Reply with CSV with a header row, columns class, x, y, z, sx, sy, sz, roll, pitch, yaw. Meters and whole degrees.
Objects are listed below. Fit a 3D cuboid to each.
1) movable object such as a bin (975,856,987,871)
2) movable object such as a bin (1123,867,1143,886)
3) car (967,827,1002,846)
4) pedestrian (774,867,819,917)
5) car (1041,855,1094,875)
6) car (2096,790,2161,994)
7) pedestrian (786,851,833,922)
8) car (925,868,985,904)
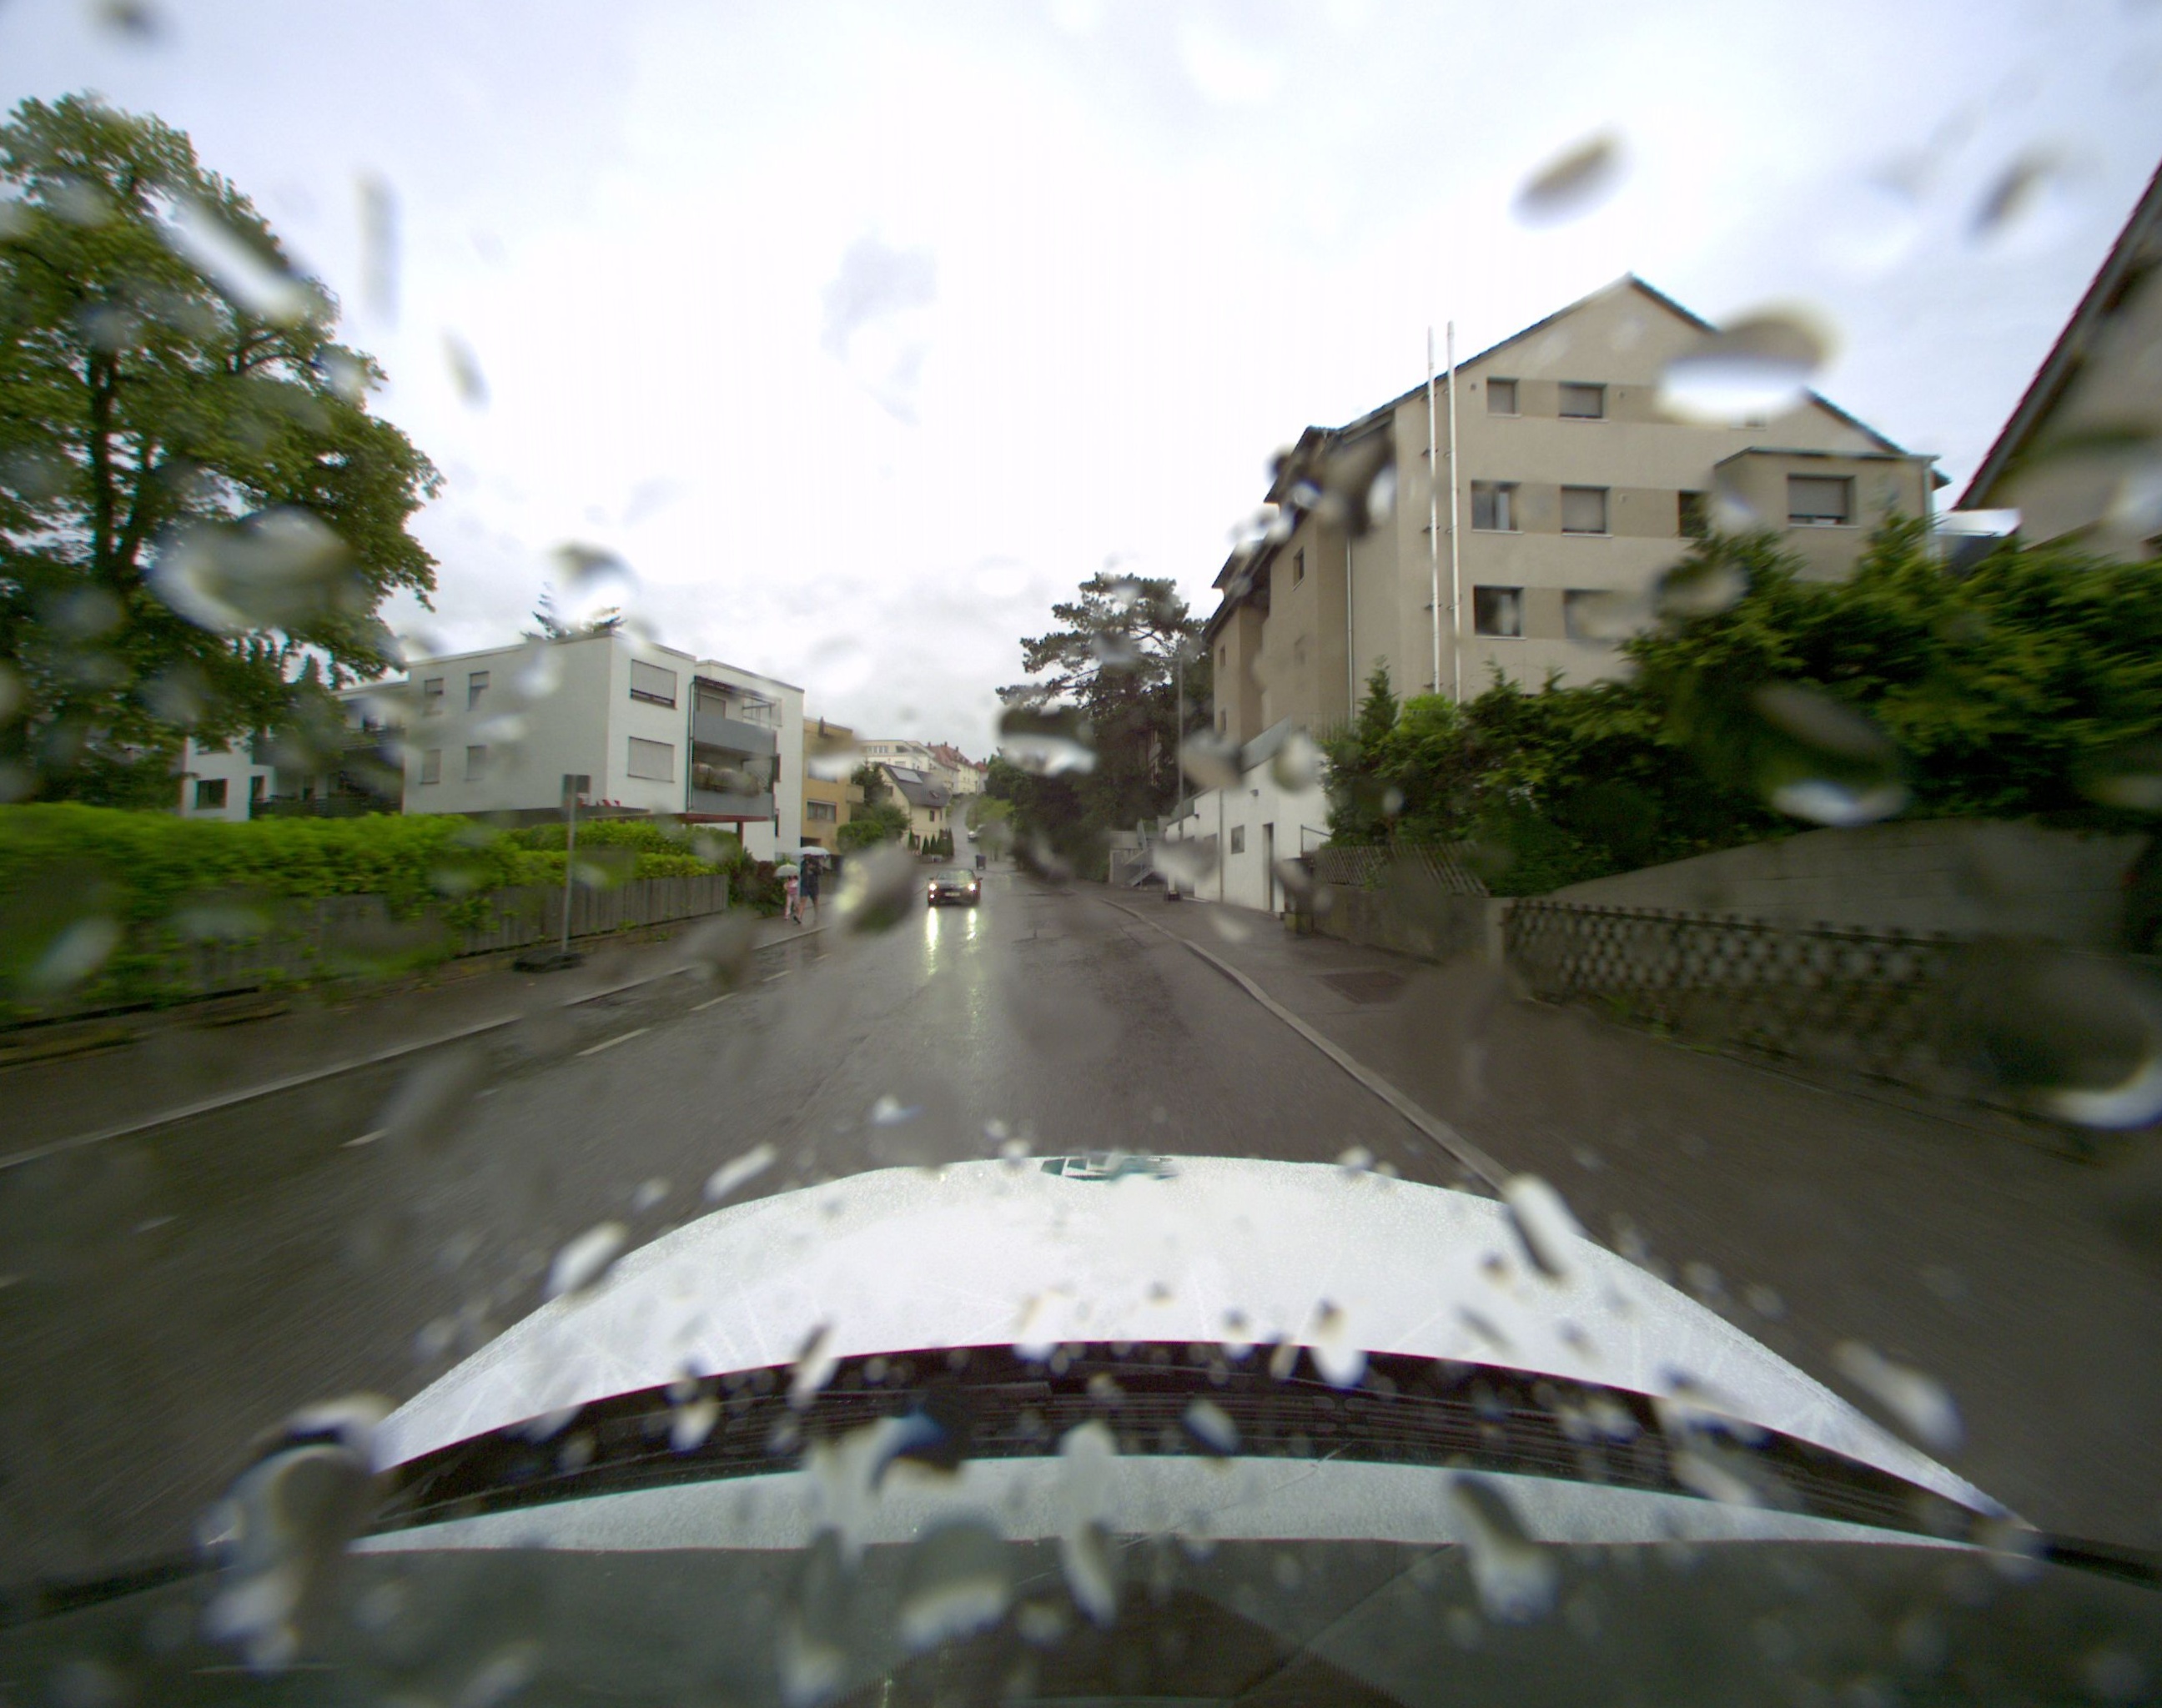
class,x,y,z,sx,sy,sz,roll,pitch,yaw
movable object such as a bin,-9.817,0.885,79.974,1.081,1.442,1.454,1,0,-8
movable object such as a bin,2.663,1.159,41.874,0.874,0.941,0.744,0,0,-9
car,-14.336,-2.611,120.984,4.952,2.569,1.895,-2,0,-15
pedestrian,-7.080,0.932,20.316,0.754,1.180,1.039,1,-1,-2
car,-1.115,0.872,67.995,4.146,1.476,1.897,-2,1,-12
car,9.394,0.282,4.864,1.883,1.653,4.158,-1,0,10
pedestrian,-6.486,0.756,19.479,0.754,1.644,1.039,1,-1,-2
car,-4.459,1.101,29.312,1.675,1.146,3.996,-1,0,-2
